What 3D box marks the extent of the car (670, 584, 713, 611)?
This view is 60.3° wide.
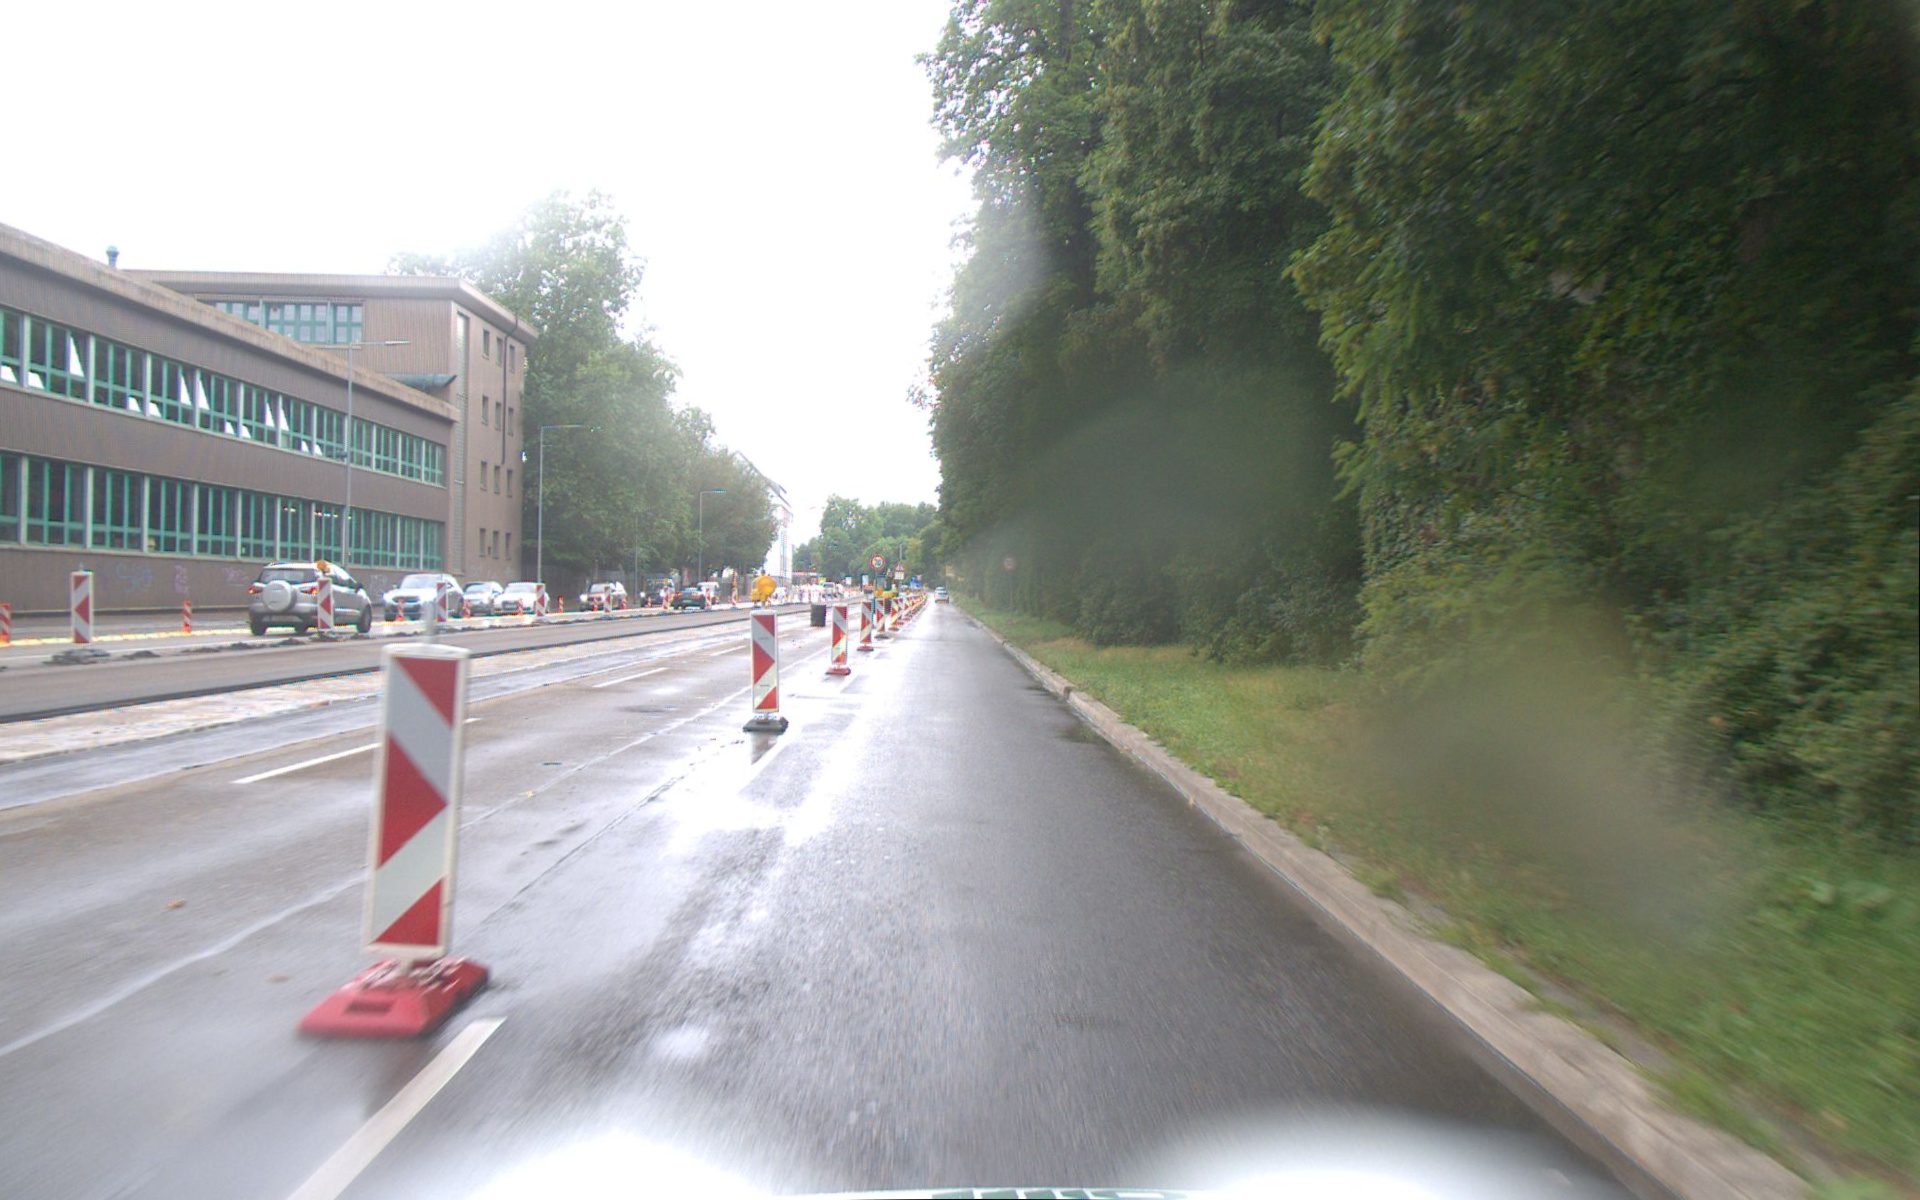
[{"bbox_3d":[-15.893,-0.147,98.077,1.953,1.545,3.999,2,0,-1],"label":"car"}]

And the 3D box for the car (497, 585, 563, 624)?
[{"bbox_3d":[-18.411,0.188,70.988,1.767,1.561,3.991,2,0,-1],"label":"car"}]

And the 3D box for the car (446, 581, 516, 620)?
[{"bbox_3d":[-21.490,0.020,74.376,1.953,1.614,4.178,3,0,-1],"label":"car"}]

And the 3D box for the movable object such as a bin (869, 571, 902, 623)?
[{"bbox_3d":[-5.130,-0.165,114.350,1.953,3.426,5.981,2,0,-1],"label":"movable object such as a bin"}]

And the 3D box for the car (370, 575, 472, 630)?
[{"bbox_3d":[-18.786,0.088,57.858,1.948,1.799,4.674,2,0,1],"label":"car"}]

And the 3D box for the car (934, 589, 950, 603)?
[{"bbox_3d":[-2.301,-0.474,209.223,1.953,1.702,3.999,2,0,-1],"label":"car"}]

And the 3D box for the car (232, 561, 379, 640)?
[{"bbox_3d":[-15.115,0.020,38.439,1.817,1.677,3.999,2,0,-1],"label":"car"}]
